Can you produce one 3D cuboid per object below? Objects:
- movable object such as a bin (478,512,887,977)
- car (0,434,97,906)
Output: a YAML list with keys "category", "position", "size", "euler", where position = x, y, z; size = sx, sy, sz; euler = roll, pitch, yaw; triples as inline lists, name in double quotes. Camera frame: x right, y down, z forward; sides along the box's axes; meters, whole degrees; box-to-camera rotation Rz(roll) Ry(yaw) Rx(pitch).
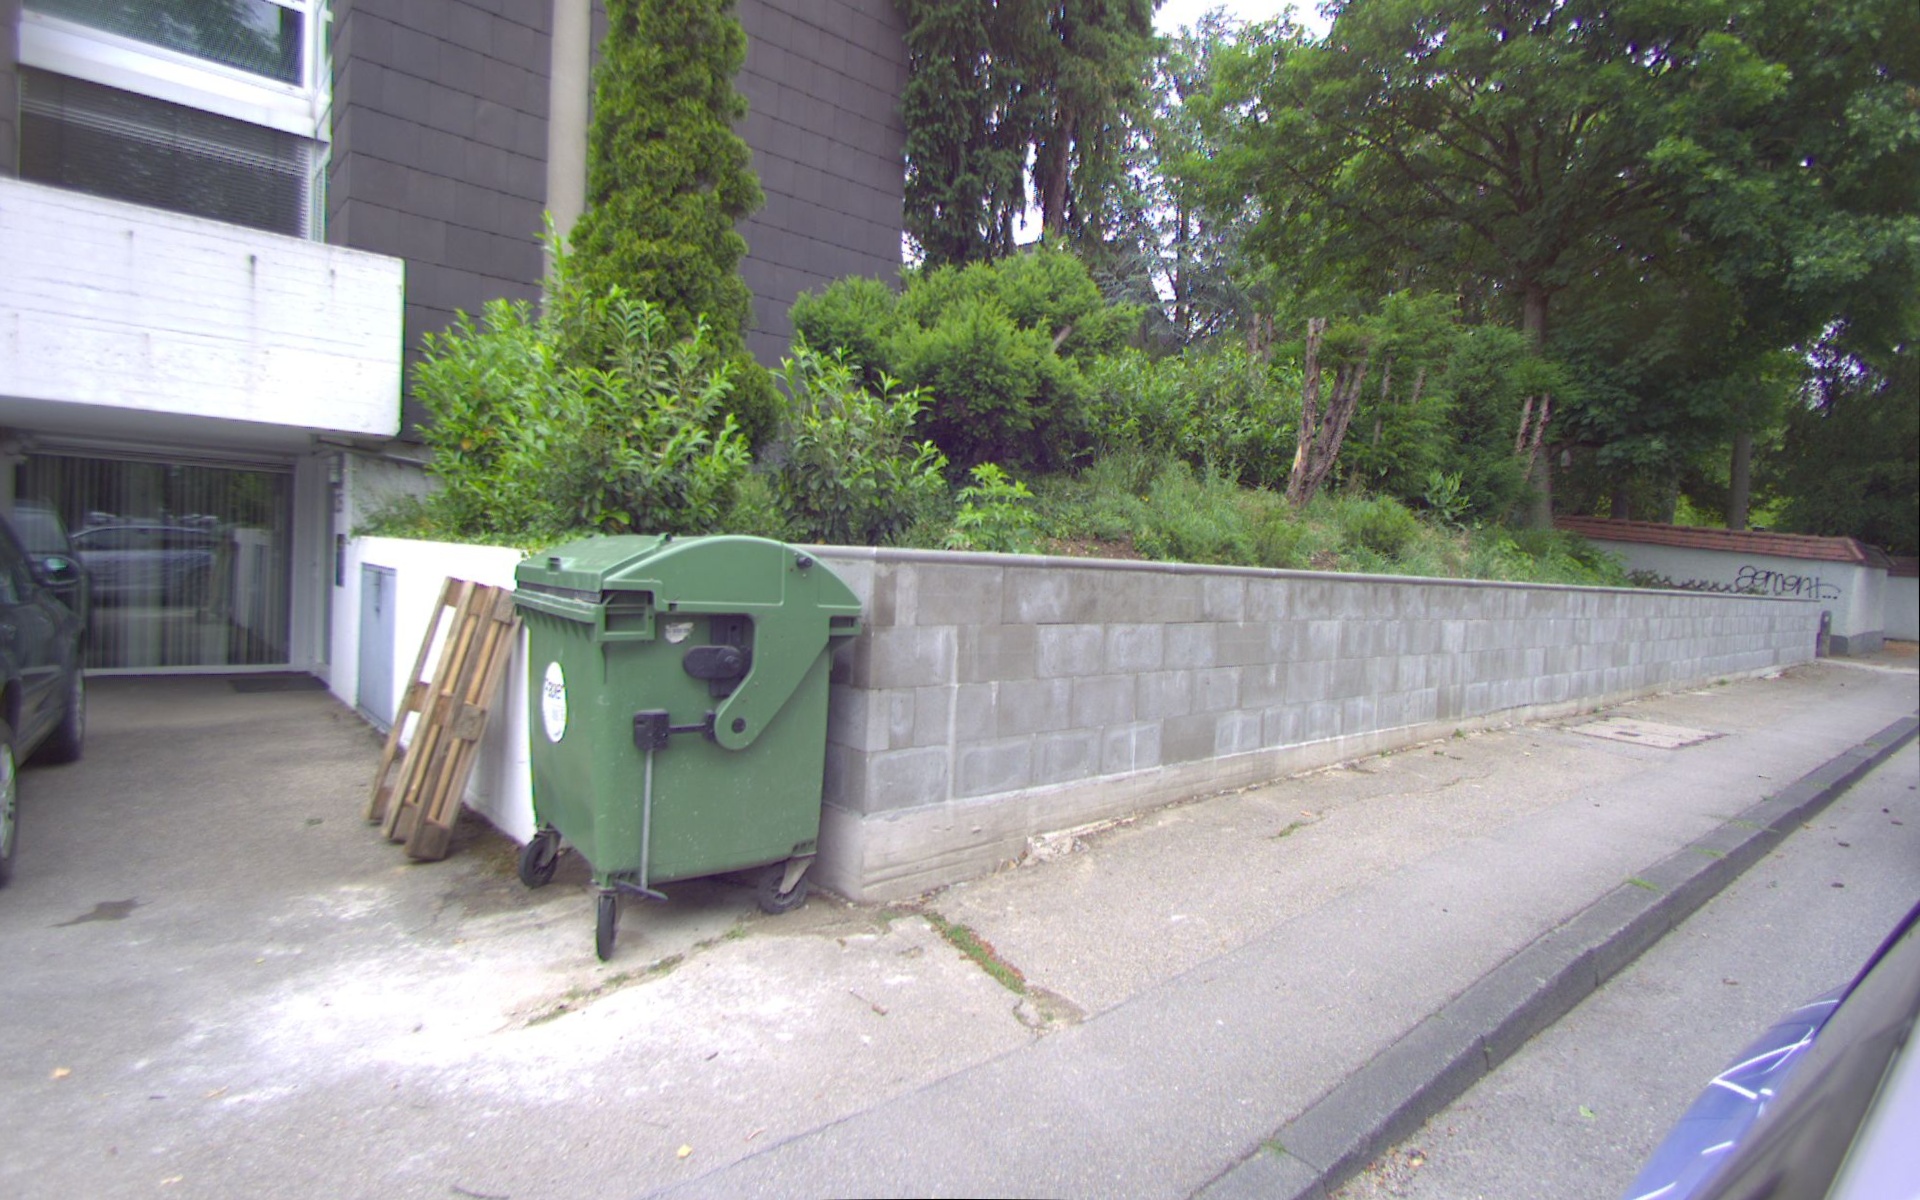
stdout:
- category: "movable object such as a bin"
  position: [-1.160, 0.418, 4.075]
  size: [1.096, 1.469, 1.407]
  euler: [0, 3, -40]
- category: "car"
  position: [-5.024, 0.152, 4.349]
  size: [1.712, 1.671, 3.914]
  euler: [0, 4, -36]
